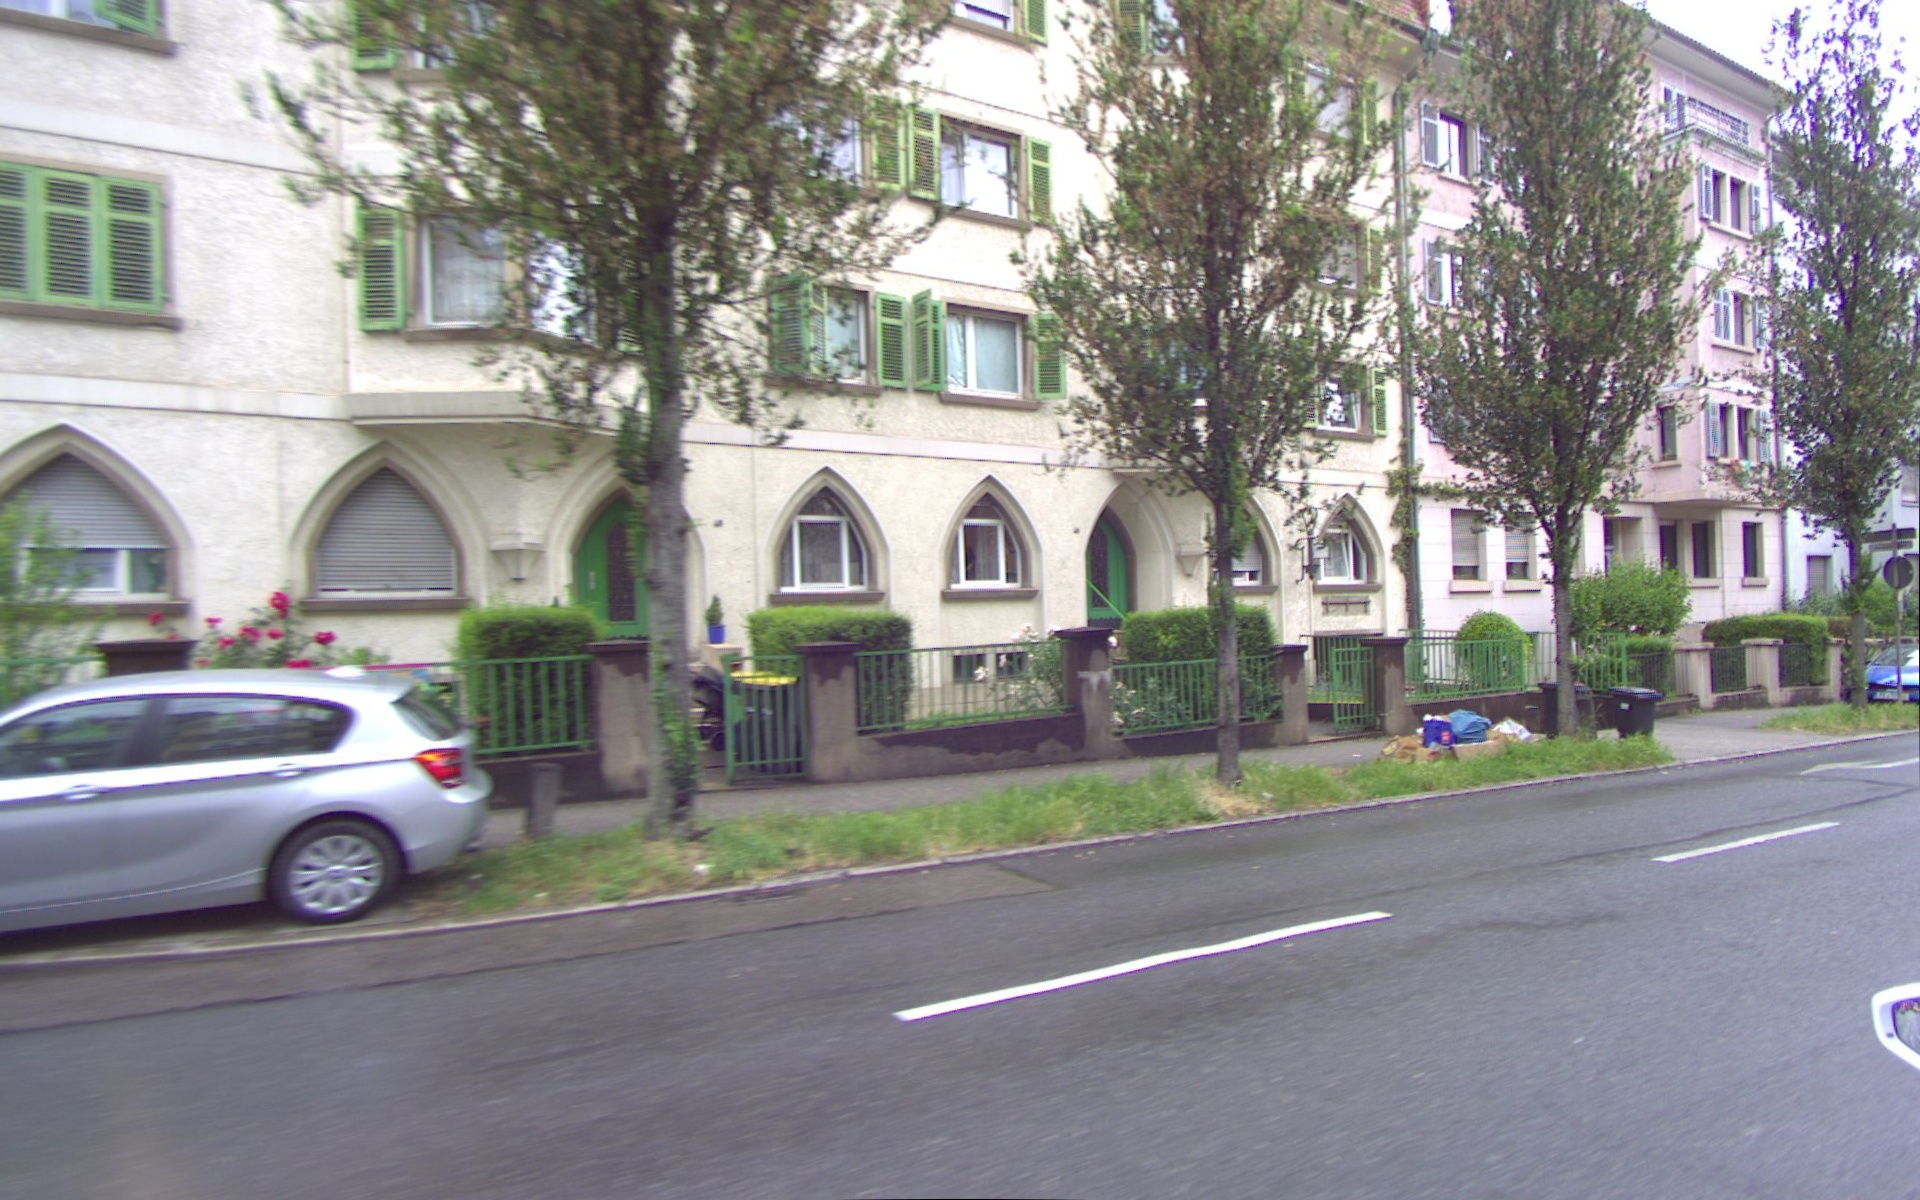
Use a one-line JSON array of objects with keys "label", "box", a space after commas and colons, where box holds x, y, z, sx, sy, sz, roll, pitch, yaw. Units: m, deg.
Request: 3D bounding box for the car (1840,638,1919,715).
[{"label": "car", "box": [19.517, 1.475, 19.951, 4.548, 1.404, 1.671, 1, -3, -30]}]

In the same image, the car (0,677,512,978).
[{"label": "car", "box": [-4.988, 1.247, 6.019, 4.088, 1.436, 1.674, 1, -3, -30]}]

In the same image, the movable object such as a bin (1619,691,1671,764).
[{"label": "movable object such as a bin", "box": [9.096, 1.685, 13.333, 0.566, 0.901, 0.362, 1, -1, -31]}]

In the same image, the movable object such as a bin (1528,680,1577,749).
[{"label": "movable object such as a bin", "box": [8.355, 1.602, 14.159, 0.566, 0.923, 0.362, 1, -1, -31]}]
